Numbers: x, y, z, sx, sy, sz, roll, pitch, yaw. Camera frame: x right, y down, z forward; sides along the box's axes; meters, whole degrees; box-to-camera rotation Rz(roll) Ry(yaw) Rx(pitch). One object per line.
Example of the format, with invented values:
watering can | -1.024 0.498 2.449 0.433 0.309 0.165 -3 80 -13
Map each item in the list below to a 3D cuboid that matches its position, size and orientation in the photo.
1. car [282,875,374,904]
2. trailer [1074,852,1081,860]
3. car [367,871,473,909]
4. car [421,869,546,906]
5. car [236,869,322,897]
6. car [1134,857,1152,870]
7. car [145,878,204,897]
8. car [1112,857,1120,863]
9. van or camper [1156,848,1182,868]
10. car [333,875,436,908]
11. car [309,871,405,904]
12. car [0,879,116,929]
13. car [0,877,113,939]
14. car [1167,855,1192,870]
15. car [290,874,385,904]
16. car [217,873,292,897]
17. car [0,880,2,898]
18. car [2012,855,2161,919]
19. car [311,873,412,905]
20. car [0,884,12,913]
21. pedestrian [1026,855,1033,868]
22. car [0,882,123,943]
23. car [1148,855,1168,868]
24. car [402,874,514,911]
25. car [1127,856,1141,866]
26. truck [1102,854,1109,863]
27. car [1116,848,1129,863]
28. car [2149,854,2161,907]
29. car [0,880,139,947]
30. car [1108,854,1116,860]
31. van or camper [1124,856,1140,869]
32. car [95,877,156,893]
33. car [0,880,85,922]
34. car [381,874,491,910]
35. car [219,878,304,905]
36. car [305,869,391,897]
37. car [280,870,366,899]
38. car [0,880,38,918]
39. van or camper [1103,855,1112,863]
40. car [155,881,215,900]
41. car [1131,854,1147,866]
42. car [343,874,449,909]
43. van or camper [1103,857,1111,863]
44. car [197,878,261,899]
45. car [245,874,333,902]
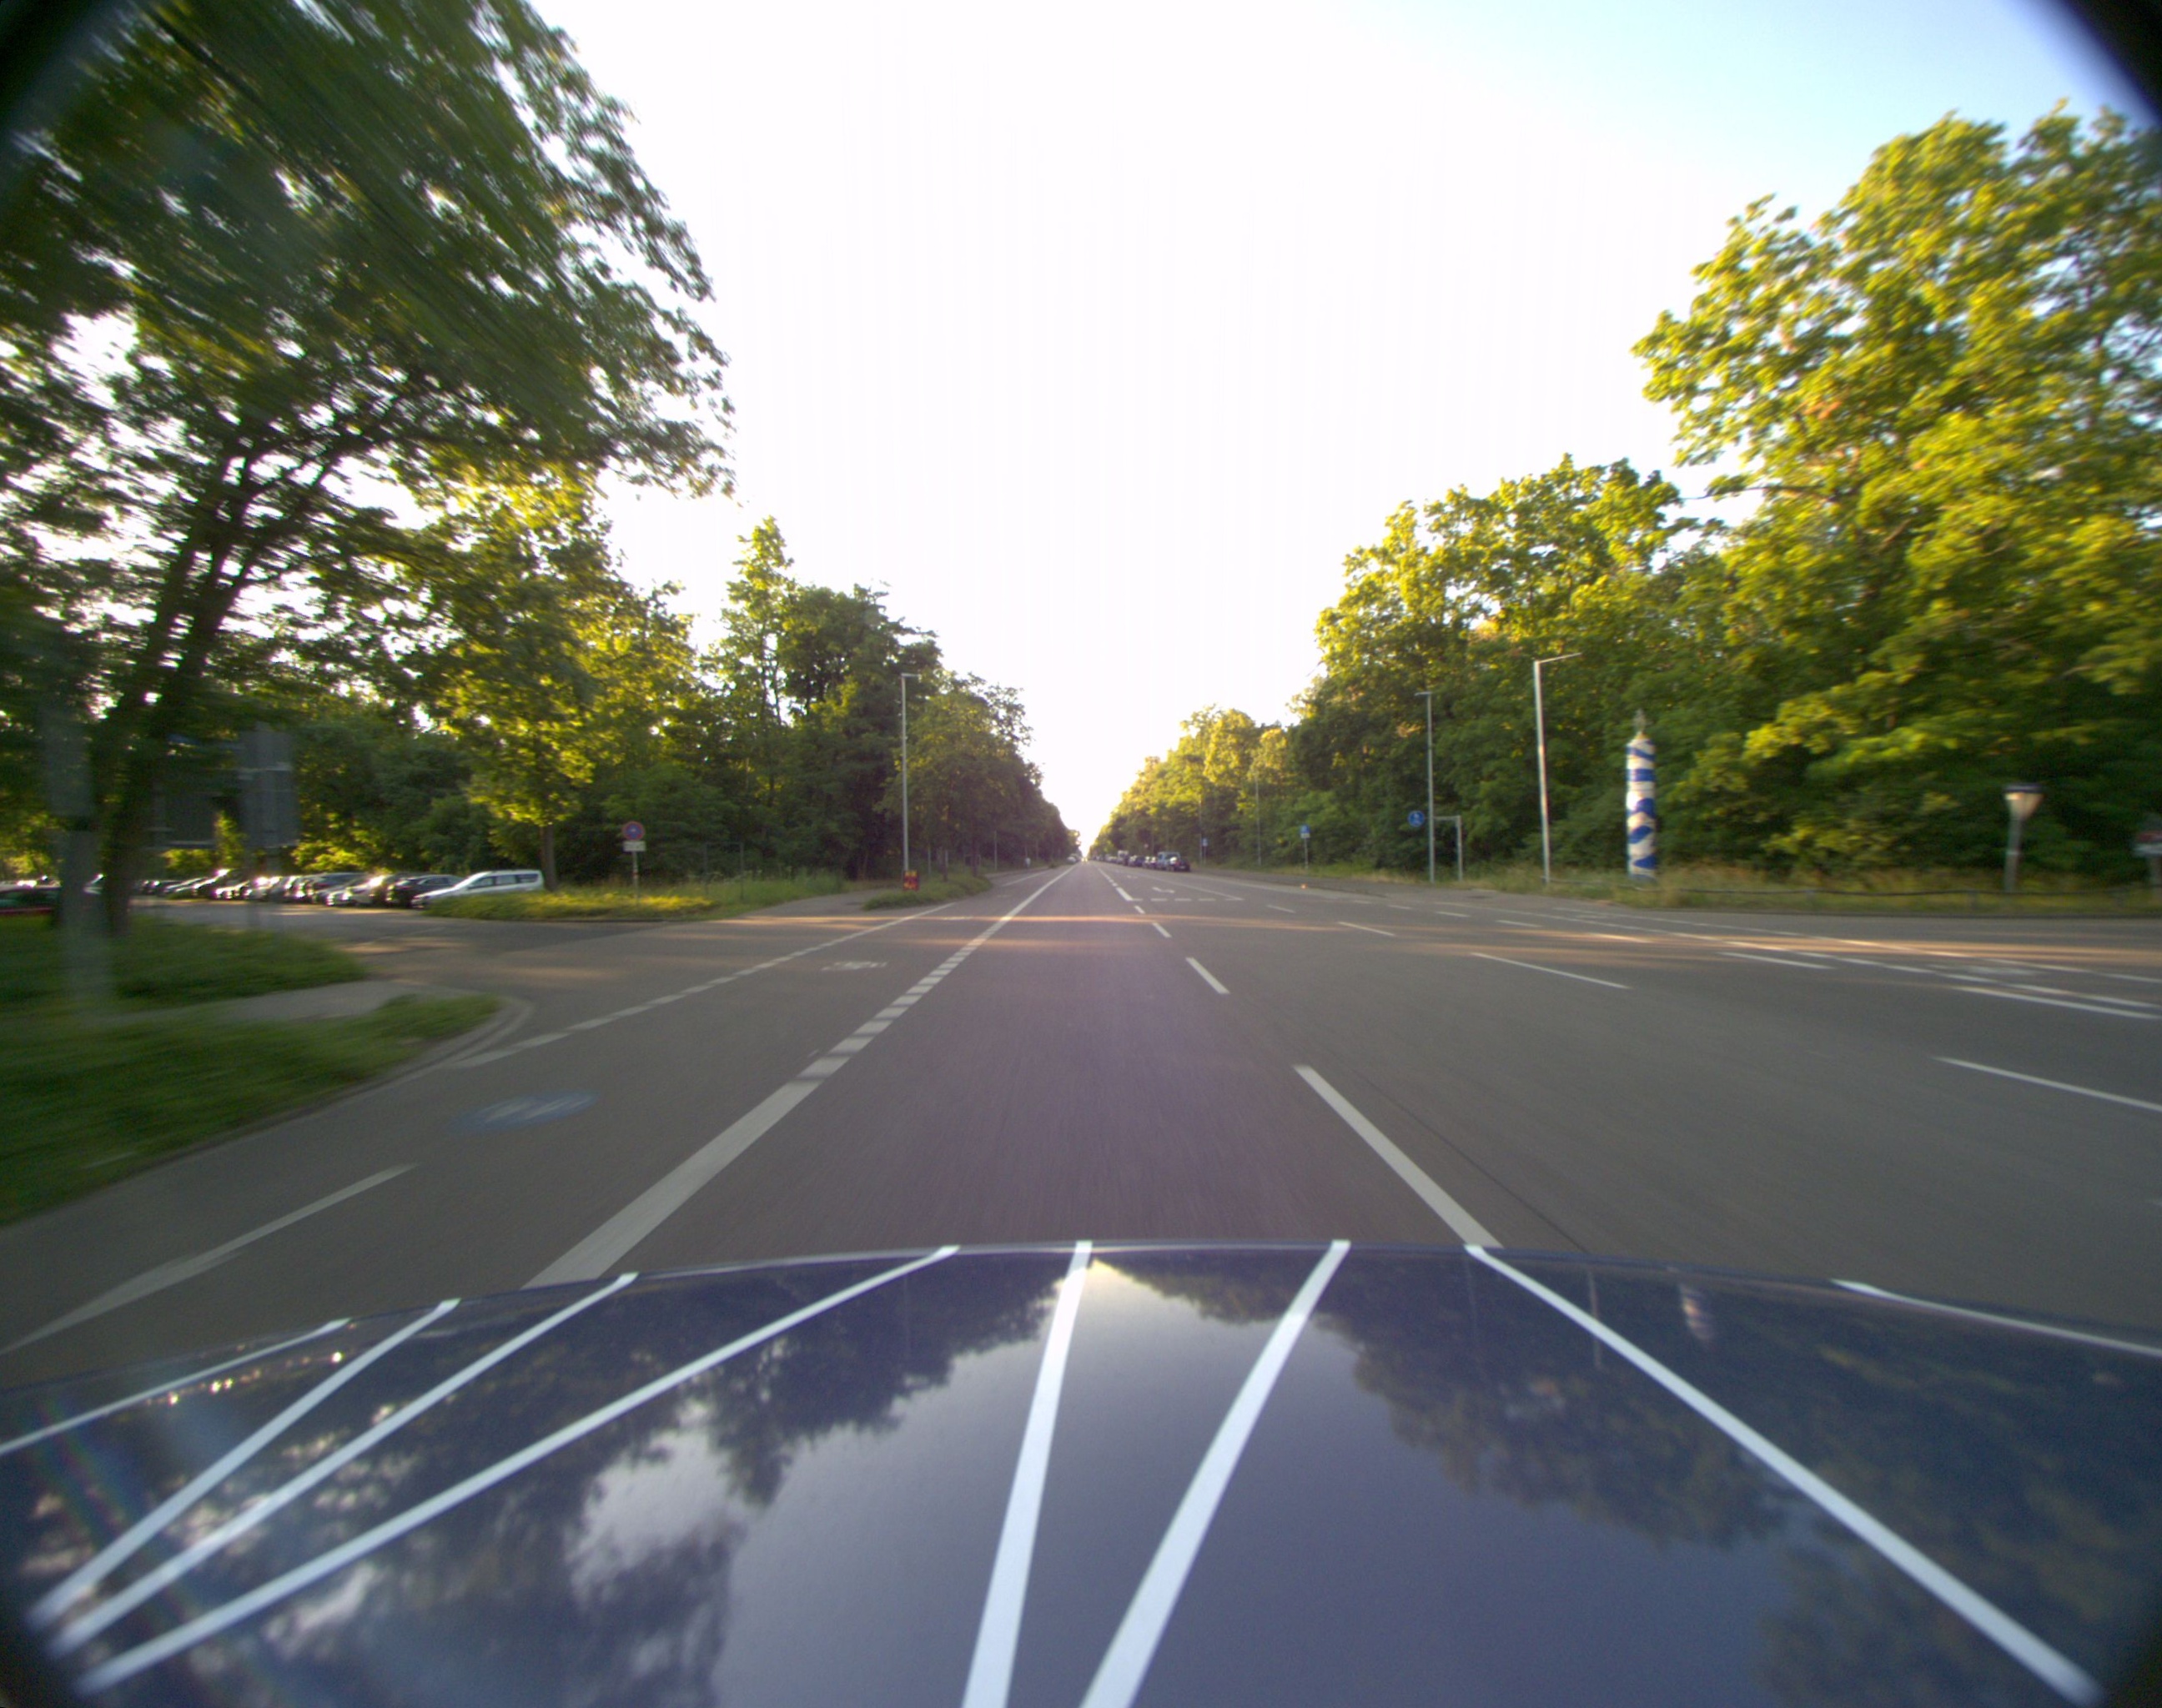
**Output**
car | -45.406 2.112 45.899 1.537 1.535 3.650 -1 0 30
trailer | -1.150 0.727 251.164 1.866 2.633 4.270 -2 0 0
car | -32.683 1.727 37.671 1.537 1.696 3.650 -1 0 30
car | -26.085 1.428 33.319 1.537 1.388 4.007 -1 0 30
car | -53.209 1.886 50.466 1.537 1.652 3.650 -1 0 30
car | 7.608 1.181 93.664 1.621 1.525 4.038 1 0 -5
car | -93.345 3.436 78.245 1.537 1.653 3.649 -1 2 34
car | 8.232 1.487 180.314 1.716 1.499 3.657 1 -1 0
van or camper | 9.561 0.406 83.087 2.037 2.081 5.012 1 0 -3
car | -36.254 1.928 39.631 1.537 1.535 3.650 -1 0 30
car | -41.030 1.862 43.139 1.537 1.652 3.650 -1 0 30
car | -37.889 1.799 27.294 1.537 1.637 3.848 -1 0 34
car | -29.642 1.501 20.727 1.537 1.576 3.848 -1 0 34
car | 9.986 0.854 77.322 1.692 1.453 4.241 1 0 -5
car | -43.315 2.015 44.363 1.537 1.535 3.650 -1 0 30
car | -62.935 2.349 57.903 1.537 1.652 3.650 -1 0 34
car | -92.611 2.977 62.969 1.537 1.506 3.650 -1 0 34
car | 26.022 0.771 18.874 1.748 1.444 3.344 -1 0 2
car | -38.767 1.873 41.037 1.537 1.535 3.650 -1 0 30
car | -58.677 2.387 39.424 1.537 1.506 3.650 -1 0 34
pedestrian | -6.673 0.992 98.642 0.840 1.741 0.726 -1 0 1
car | -31.373 1.725 22.351 1.537 1.637 3.848 -1 0 34
car | 9.035 0.847 88.853 1.547 1.484 3.970 1 0 -6
car | -28.729 1.741 35.132 1.537 1.473 3.650 -3 -1 30
car | 7.839 1.000 112.768 1.673 1.492 4.246 1 0 -2
truck | 8.462 1.539 264.327 2.226 3.188 6.271 2 -1 -1
car | 8.059 0.300 146.770 2.084 2.591 7.089 2 0 0
car | 29.923 0.701 19.007 1.748 1.444 3.344 -1 0 2
car | -27.758 1.559 19.831 1.537 1.576 3.848 -1 0 34
car | 8.291 0.830 203.822 1.699 1.636 4.572 1 -1 -2
van or camper | 8.245 1.325 122.938 2.008 2.006 5.460 1 0 -2
car | -108.866 3.481 86.571 1.689 1.537 4.119 -1 2 34
car | -43.423 1.902 30.558 1.537 1.637 4.002 -1 -1 34
car | -30.495 1.765 36.037 1.537 1.473 3.650 -1 0 30
car | -55.381 2.510 51.418 1.537 1.652 3.650 -1 0 30
car | -46.657 1.829 48.441 1.537 1.652 3.650 -1 0 30
car | -49.066 1.942 49.233 1.537 1.652 3.650 -1 0 30
car | -45.957 1.908 31.171 1.537 1.541 3.650 -1 0 34
van or camper | 8.025 1.556 231.575 2.116 2.376 6.381 2 -1 -1
car | -89.146 3.604 75.616 1.537 1.653 3.649 -1 2 34
car | 8.178 0.818 107.744 1.749 1.702 4.522 1 0 -2
car | -34.559 1.847 38.448 1.537 1.535 3.650 -1 0 30
van or camper | 8.562 2.082 250.957 2.034 1.945 4.692 2 -1 -2
car | -76.287 3.076 68.071 1.537 1.652 3.650 -1 0 34
car | -51.489 2.182 49.462 1.537 1.652 3.650 -1 0 30
